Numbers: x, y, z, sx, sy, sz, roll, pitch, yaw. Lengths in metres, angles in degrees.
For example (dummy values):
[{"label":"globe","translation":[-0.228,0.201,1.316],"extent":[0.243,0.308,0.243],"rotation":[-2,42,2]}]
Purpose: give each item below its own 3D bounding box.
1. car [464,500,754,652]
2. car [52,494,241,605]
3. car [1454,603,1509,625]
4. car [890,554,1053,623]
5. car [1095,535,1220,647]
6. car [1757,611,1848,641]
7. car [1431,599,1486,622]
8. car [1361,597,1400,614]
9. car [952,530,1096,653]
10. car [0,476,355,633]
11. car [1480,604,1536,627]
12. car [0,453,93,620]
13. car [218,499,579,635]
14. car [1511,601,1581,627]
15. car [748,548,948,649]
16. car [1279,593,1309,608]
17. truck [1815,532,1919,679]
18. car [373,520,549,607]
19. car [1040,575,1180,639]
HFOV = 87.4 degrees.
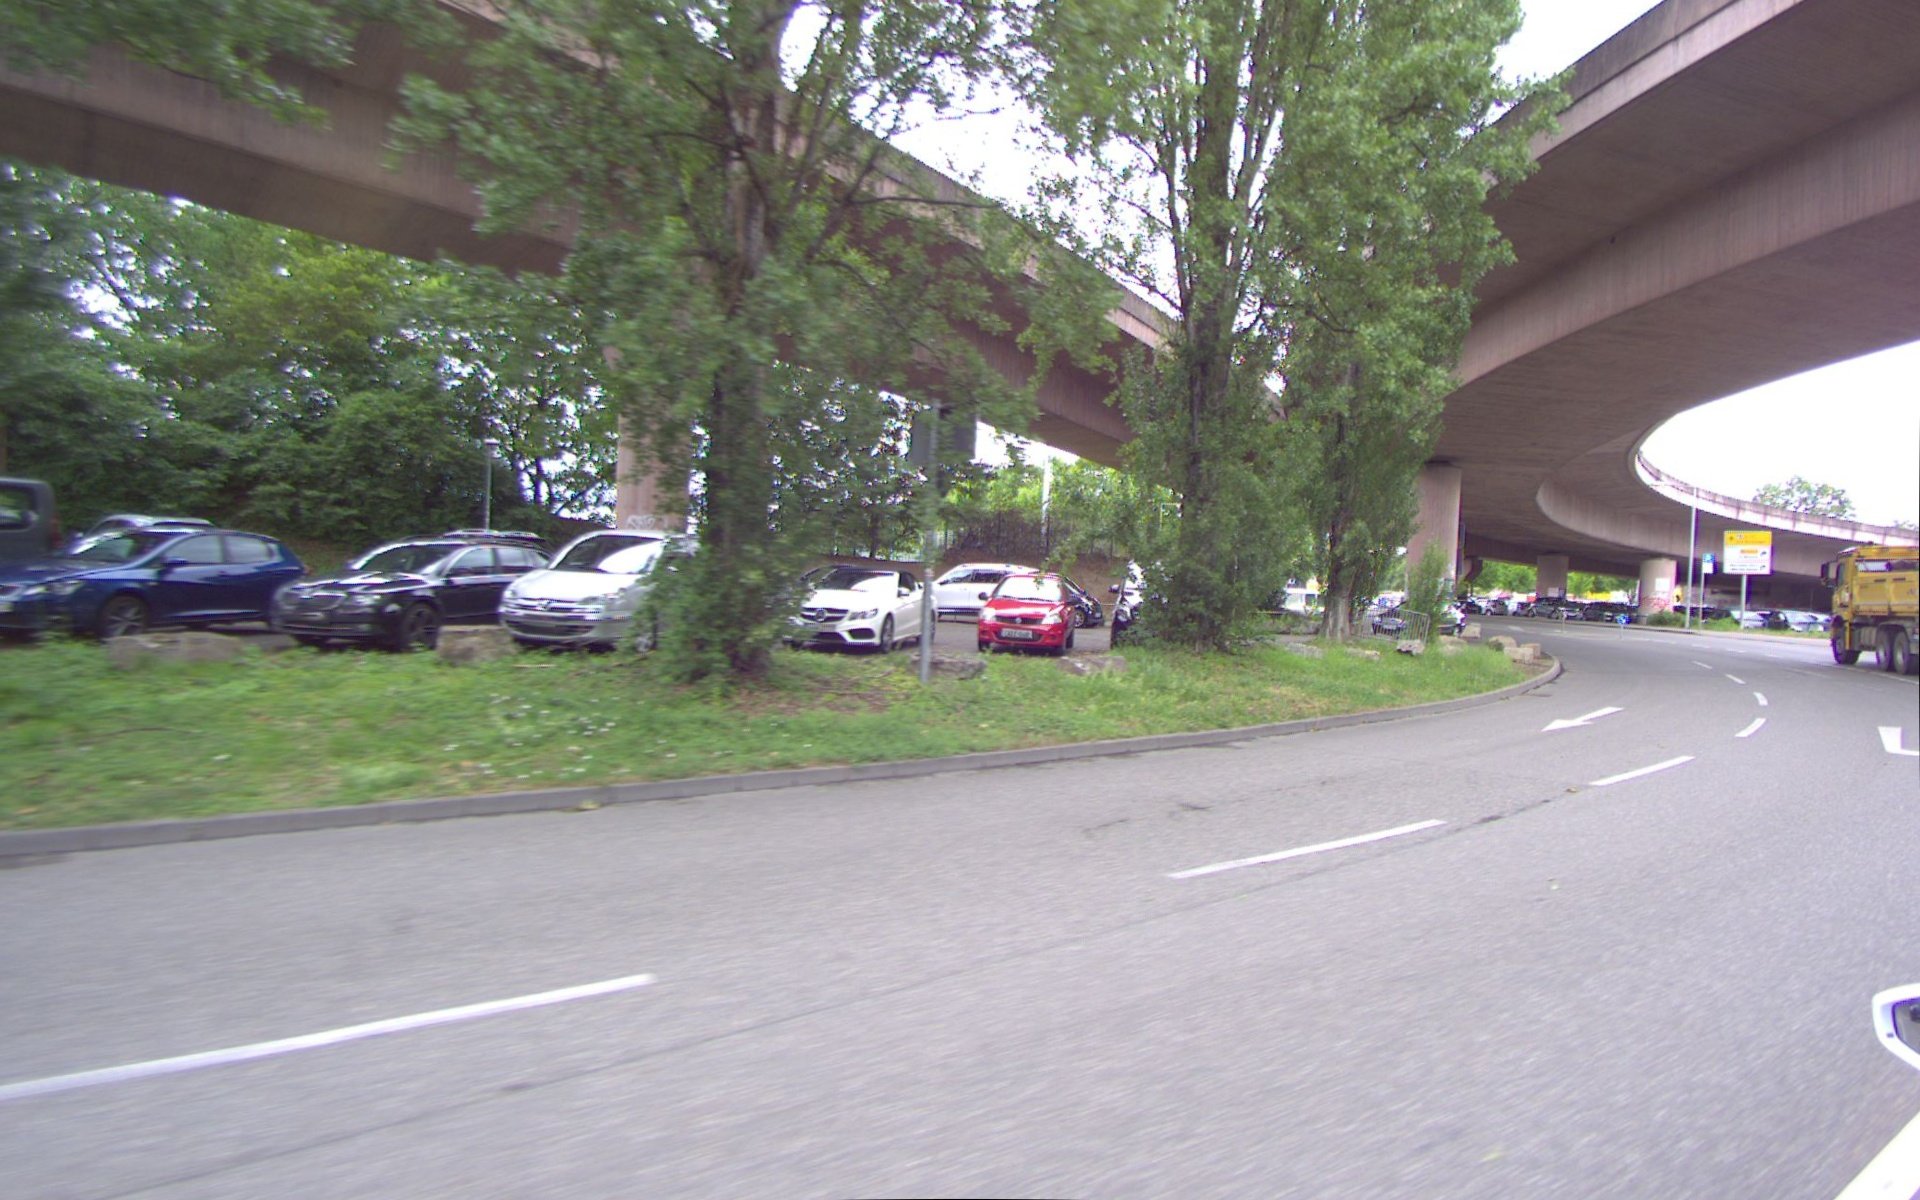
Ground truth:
[{"label":"car","translation":[-4.828,-0.263,14.633],"extent":[1.975,1.814,4.404],"rotation":[2,-1,11]},{"label":"car","translation":[-16.948,-0.950,20.877],"extent":[4.229,1.824,1.842],"rotation":[-3,-4,34]},{"label":"car","translation":[44.263,1.172,85.328],"extent":[1.749,1.787,4.028],"rotation":[3,-1,-19]},{"label":"car","translation":[0.375,-0.300,29.083],"extent":[4.360,1.807,2.002],"rotation":[0,-4,13]},{"label":"car","translation":[4.169,-0.175,20.720],"extent":[1.960,2.040,4.000],"rotation":[2,1,18]},{"label":"car","translation":[50.062,1.535,59.756],"extent":[1.746,1.654,3.873],"rotation":[3,-1,-12]},{"label":"car","translation":[38.646,0.844,77.993],"extent":[1.746,1.654,3.873],"rotation":[3,-1,-12]},{"label":"car","translation":[54.372,0.655,129.873],"extent":[2.261,2.048,4.442],"rotation":[3,-1,-16]},{"label":"car","translation":[1.380,-0.156,19.474],"extent":[1.960,2.040,4.452],"rotation":[2,1,14]},{"label":"car","translation":[-10.395,-0.426,13.063],"extent":[1.774,1.503,4.455],"rotation":[1,-4,10]},{"label":"car","translation":[46.964,1.331,86.120],"extent":[1.749,1.787,4.028],"rotation":[3,-1,-19]},{"label":"car","translation":[-13.449,-0.885,11.363],"extent":[2.214,2.099,5.109],"rotation":[4,0,13]},{"label":"car","translation":[-7.497,-0.320,14.033],"extent":[1.959,1.573,4.374],"rotation":[1,-2,12]},{"label":"car","translation":[39.588,0.946,67.982],"extent":[1.859,1.654,3.944],"rotation":[3,-1,-12]},{"label":"car","translation":[-1.758,0.019,17.707],"extent":[2.079,1.462,4.795],"rotation":[2,-1,11]},{"label":"car","translation":[42.398,0.107,127.601],"extent":[2.024,1.787,4.039],"rotation":[3,-1,-9]},{"label":"truck","translation":[26.092,0.126,27.123],"extent":[2.883,3.528,8.231],"rotation":[-1,0,28]},{"label":"car","translation":[-11.772,-0.903,23.643],"extent":[4.007,1.735,1.656],"rotation":[5,4,28]},{"label":"car","translation":[4.805,0.280,32.197],"extent":[4.026,1.702,1.826],"rotation":[-4,-5,24]}]
